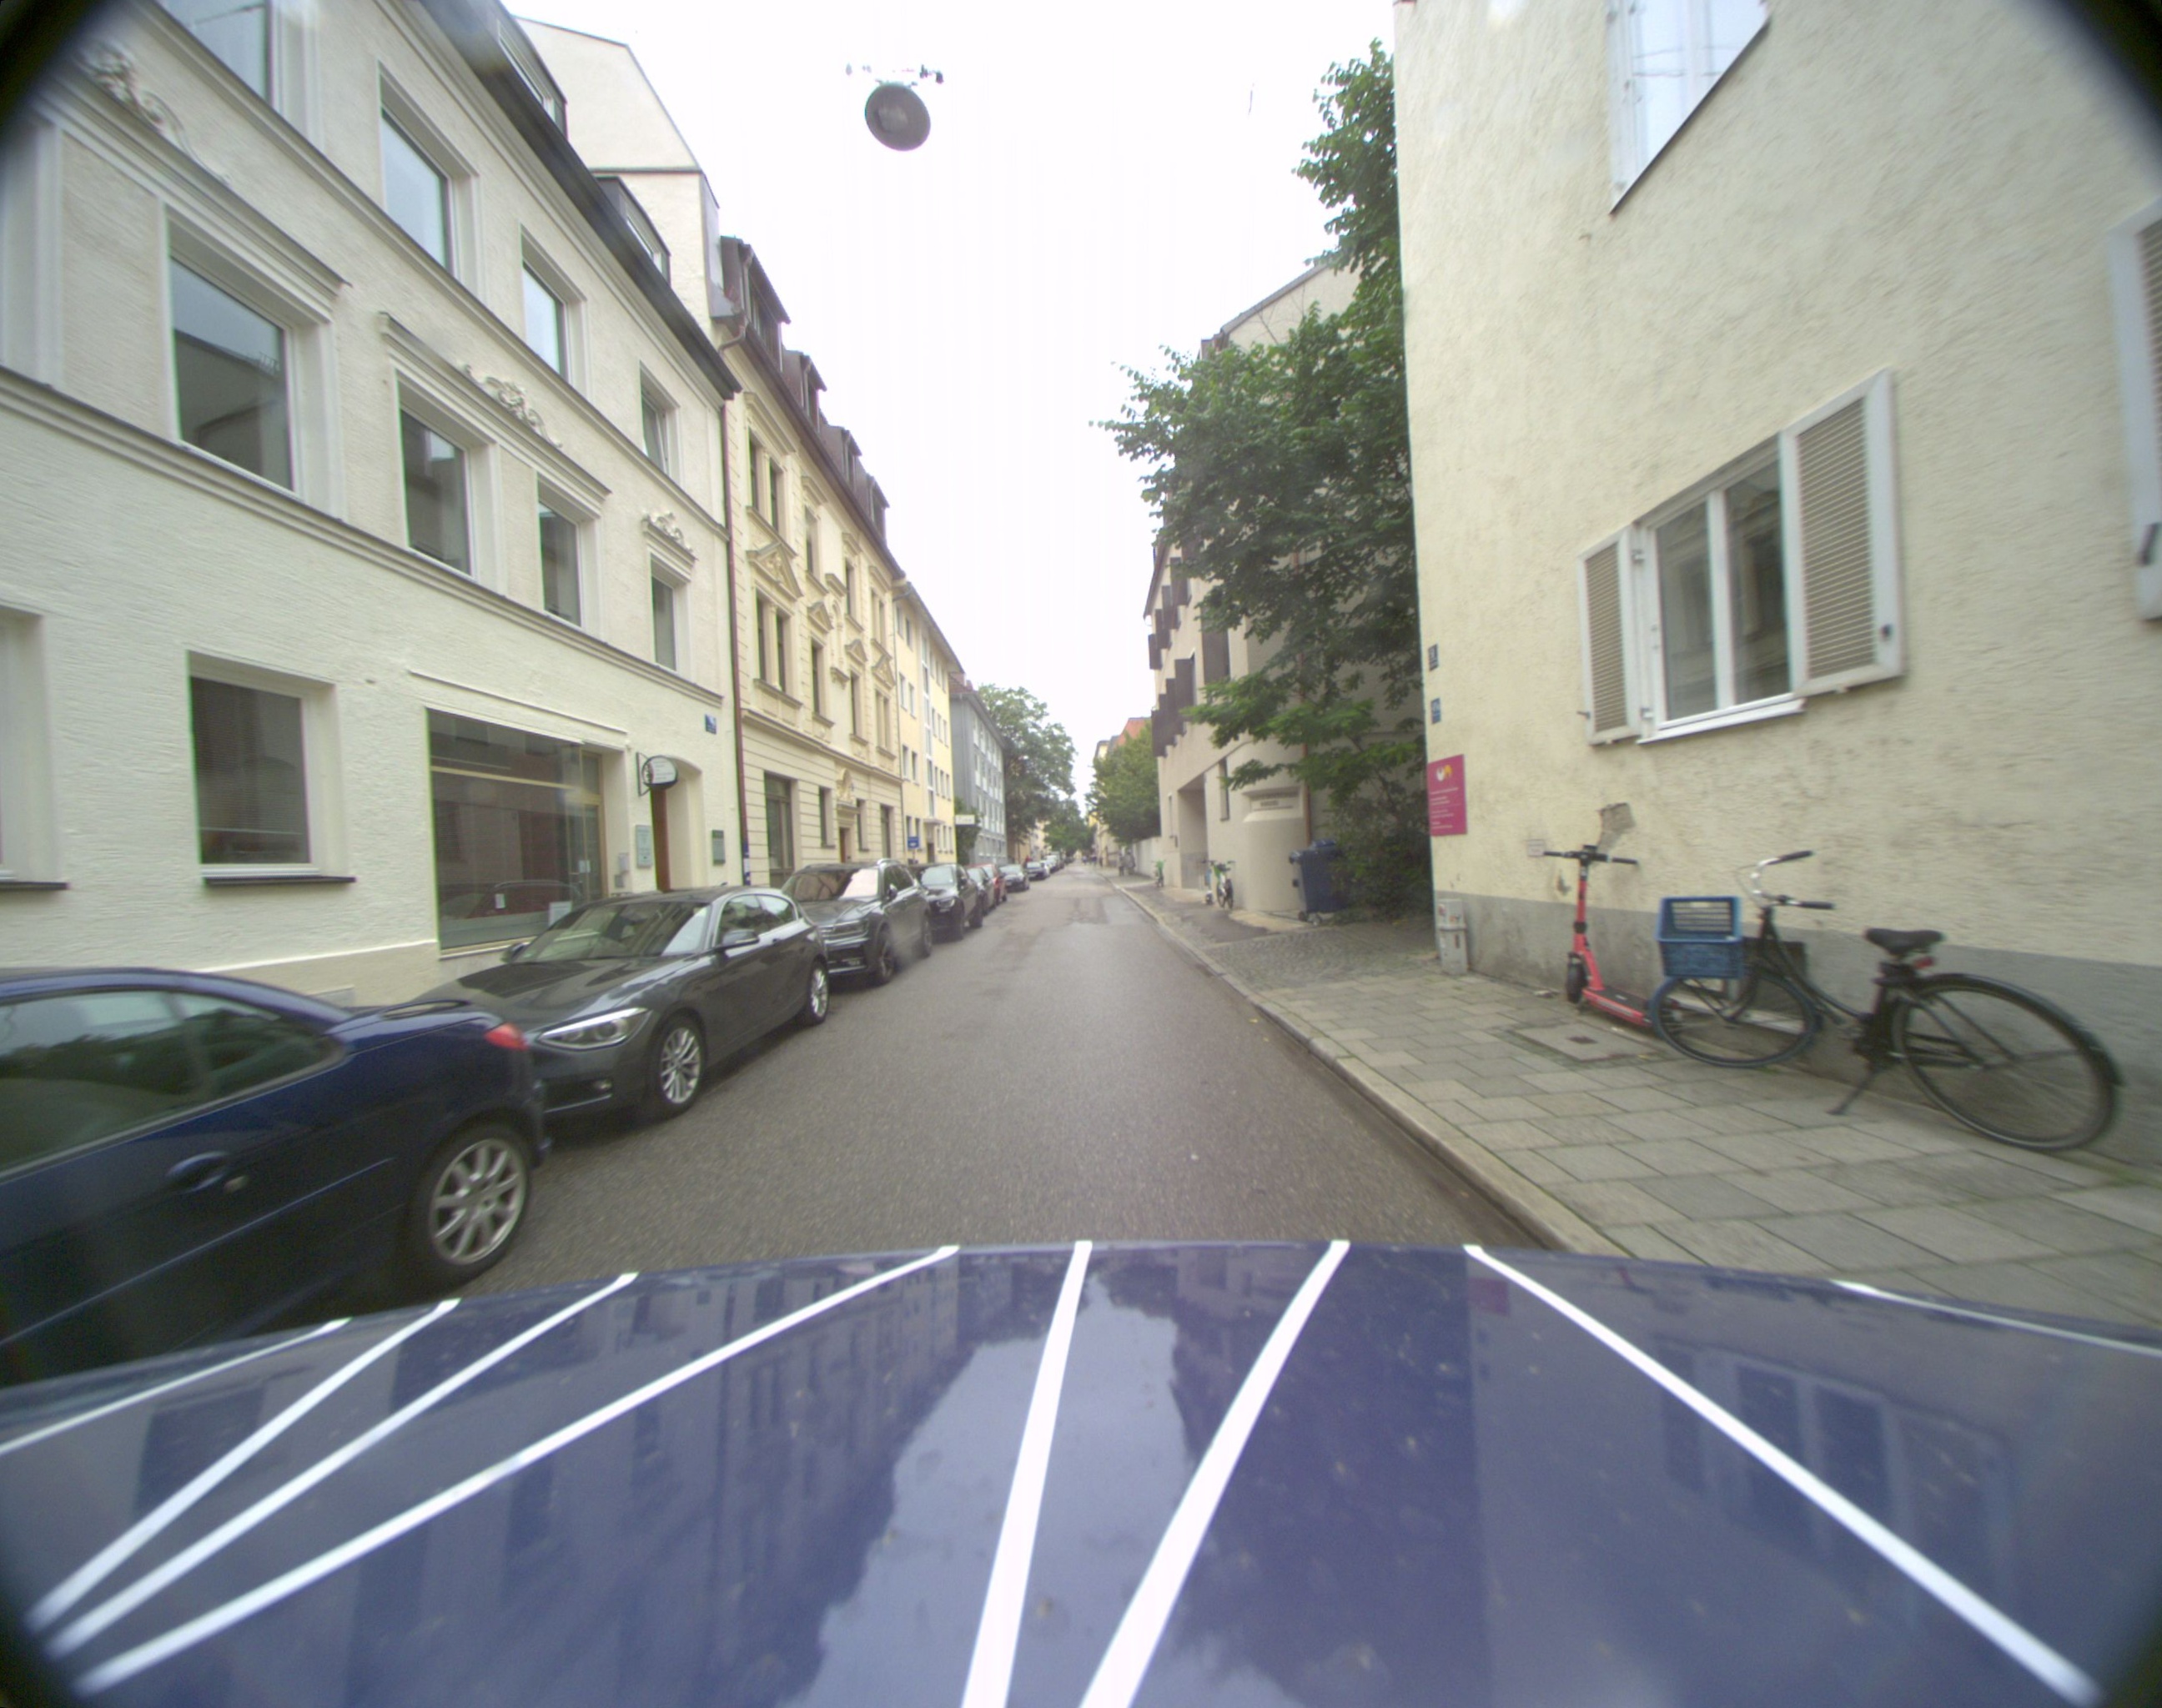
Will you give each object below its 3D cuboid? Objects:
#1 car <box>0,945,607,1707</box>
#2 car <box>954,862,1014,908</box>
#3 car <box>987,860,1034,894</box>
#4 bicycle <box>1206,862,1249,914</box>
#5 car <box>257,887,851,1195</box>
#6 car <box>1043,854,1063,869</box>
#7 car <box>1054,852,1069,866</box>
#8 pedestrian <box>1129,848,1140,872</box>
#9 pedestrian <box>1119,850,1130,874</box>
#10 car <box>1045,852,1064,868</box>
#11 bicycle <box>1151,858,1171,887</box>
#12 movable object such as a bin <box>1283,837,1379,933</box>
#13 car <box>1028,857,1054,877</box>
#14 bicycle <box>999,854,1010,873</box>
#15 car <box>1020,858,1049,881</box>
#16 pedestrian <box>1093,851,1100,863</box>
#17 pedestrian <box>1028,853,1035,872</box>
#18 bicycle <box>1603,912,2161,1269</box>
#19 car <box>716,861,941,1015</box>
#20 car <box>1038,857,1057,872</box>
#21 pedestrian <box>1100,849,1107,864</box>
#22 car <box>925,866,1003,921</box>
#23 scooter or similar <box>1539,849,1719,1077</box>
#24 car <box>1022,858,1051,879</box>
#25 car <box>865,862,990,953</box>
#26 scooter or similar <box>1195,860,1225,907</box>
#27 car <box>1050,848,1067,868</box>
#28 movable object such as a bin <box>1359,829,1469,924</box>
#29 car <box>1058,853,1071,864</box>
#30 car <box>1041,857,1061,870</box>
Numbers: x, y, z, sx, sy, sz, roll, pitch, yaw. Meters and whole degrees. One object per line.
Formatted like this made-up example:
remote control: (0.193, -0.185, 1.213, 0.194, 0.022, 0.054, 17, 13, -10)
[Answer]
car: (-3.178, 1.137, 1.589, 1.812, 1.355, 3.945, -2, 0, 1)
car: (-3.556, 1.098, 28.488, 1.680, 1.484, 3.853, -3, 0, 0)
car: (-3.432, 1.087, 37.749, 1.830, 1.327, 4.508, -6, 0, 0)
bicycle: (3.553, 0.790, 18.548, 0.545, 1.154, 1.882, -4, 0, -1)
car: (-3.460, 1.091, 6.223, 1.804, 1.377, 4.348, -2, 0, -1)
car: (-3.279, 0.888, 90.199, 1.998, 1.677, 4.510, -2, 0, 1)
car: (-3.089, 0.831, 122.745, 2.014, 1.989, 5.090, -6, 0, 1)
pedestrian: (3.696, 0.403, 52.730, 0.615, 1.612, 0.687, -5, 1, 0)
pedestrian: (3.012, 0.554, 52.706, 0.624, 1.570, 0.714, -4, 1, 0)
car: (-3.346, 0.742, 96.219, 1.998, 2.002, 5.064, -2, 0, 2)
bicycle: (3.364, 0.782, 32.190, 0.539, 1.132, 1.916, -4, 0, -1)
movable object such as a bin: (4.289, 0.520, 13.163, 1.177, 1.433, 1.249, -8, -1, 6)
car: (-3.376, 1.095, 65.028, 1.773, 1.437, 4.344, -6, 0, 1)
bicycle: (-6.007, 0.718, 59.962, 0.515, 1.478, 2.279, -3, 0, 1)
car: (-3.348, 1.089, 55.138, 1.846, 1.420, 4.263, -6, 0, -2)
pedestrian: (2.369, 0.375, 113.245, 0.920, 1.742, 1.066, -2, 0, -1)
pedestrian: (-5.310, 0.933, 81.080, 0.581, 1.966, 0.455, -3, 1, 0)
bicycle: (3.461, 0.867, 3.483, 0.705, 0.978, 1.822, -7, 1, -4)
car: (-3.343, 0.997, 11.072, 1.680, 1.651, 4.512, -3, 0, 0)
car: (-3.487, 1.048, 79.637, 1.860, 1.366, 4.509, -5, 0, -1)
pedestrian: (2.860, 0.320, 94.765, 0.766, 1.742, 0.970, -2, 0, -1)
car: (-3.478, 1.133, 23.219, 1.680, 1.385, 4.065, -3, 0, 0)
scooter or similar: (3.687, 0.658, 5.212, 0.318, 1.368, 1.239, -2, 1, 0)
car: (-3.462, 1.140, 59.966, 1.794, 1.393, 4.485, -6, 0, 1)
car: (-3.177, 1.032, 16.658, 1.706, 1.597, 4.684, -3, 0, 0)
scooter or similar: (3.510, 0.787, 20.613, 0.553, 1.137, 1.359, -5, 1, 17)
car: (-3.209, 0.563, 109.325, 2.014, 2.479, 5.090, -6, 0, 1)
movable object such as a bin: (5.609, 0.378, 12.899, 1.177, 1.396, 1.249, -8, -1, 2)
car: (-3.116, 0.851, 145.893, 2.014, 1.914, 5.090, -6, 0, 1)
car: (-3.319, 1.015, 84.885, 1.998, 1.306, 4.593, -2, 0, 1)
